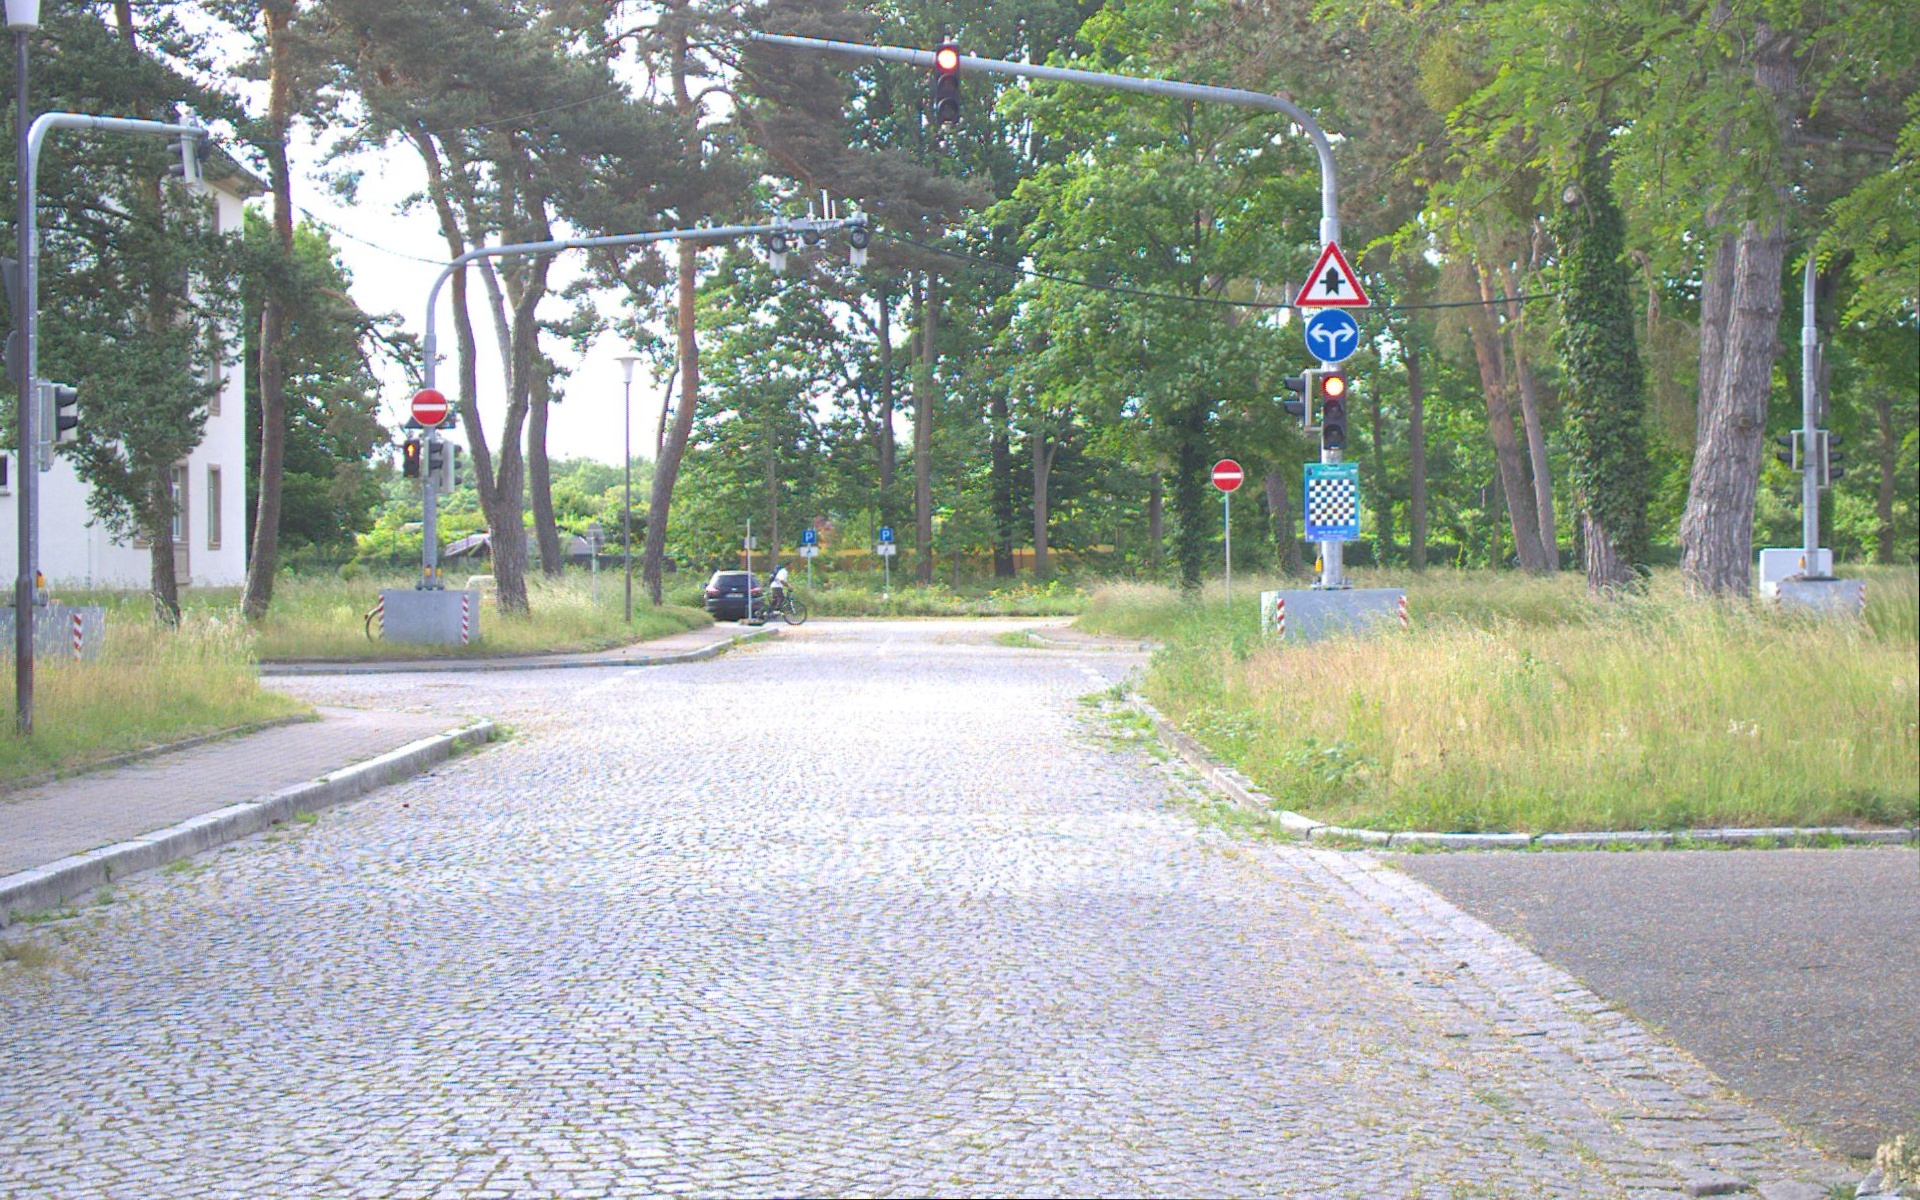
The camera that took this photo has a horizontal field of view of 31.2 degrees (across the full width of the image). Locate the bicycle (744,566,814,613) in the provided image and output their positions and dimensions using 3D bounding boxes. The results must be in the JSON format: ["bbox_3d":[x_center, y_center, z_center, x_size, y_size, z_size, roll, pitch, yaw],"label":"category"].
[{"bbox_3d":[-5.199,-0.299,98.744,1.969,1.316,0.518,1,0,-7],"label":"bicycle"}]

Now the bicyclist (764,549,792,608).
[{"bbox_3d":[-5.218,-0.620,98.741,0.748,1.665,0.526,1,0,-6],"label":"bicyclist"}]

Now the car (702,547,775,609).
[{"bbox_3d":[-6.800,-0.692,105.688,2.056,1.840,4.000,0,1,-1],"label":"car"}]
